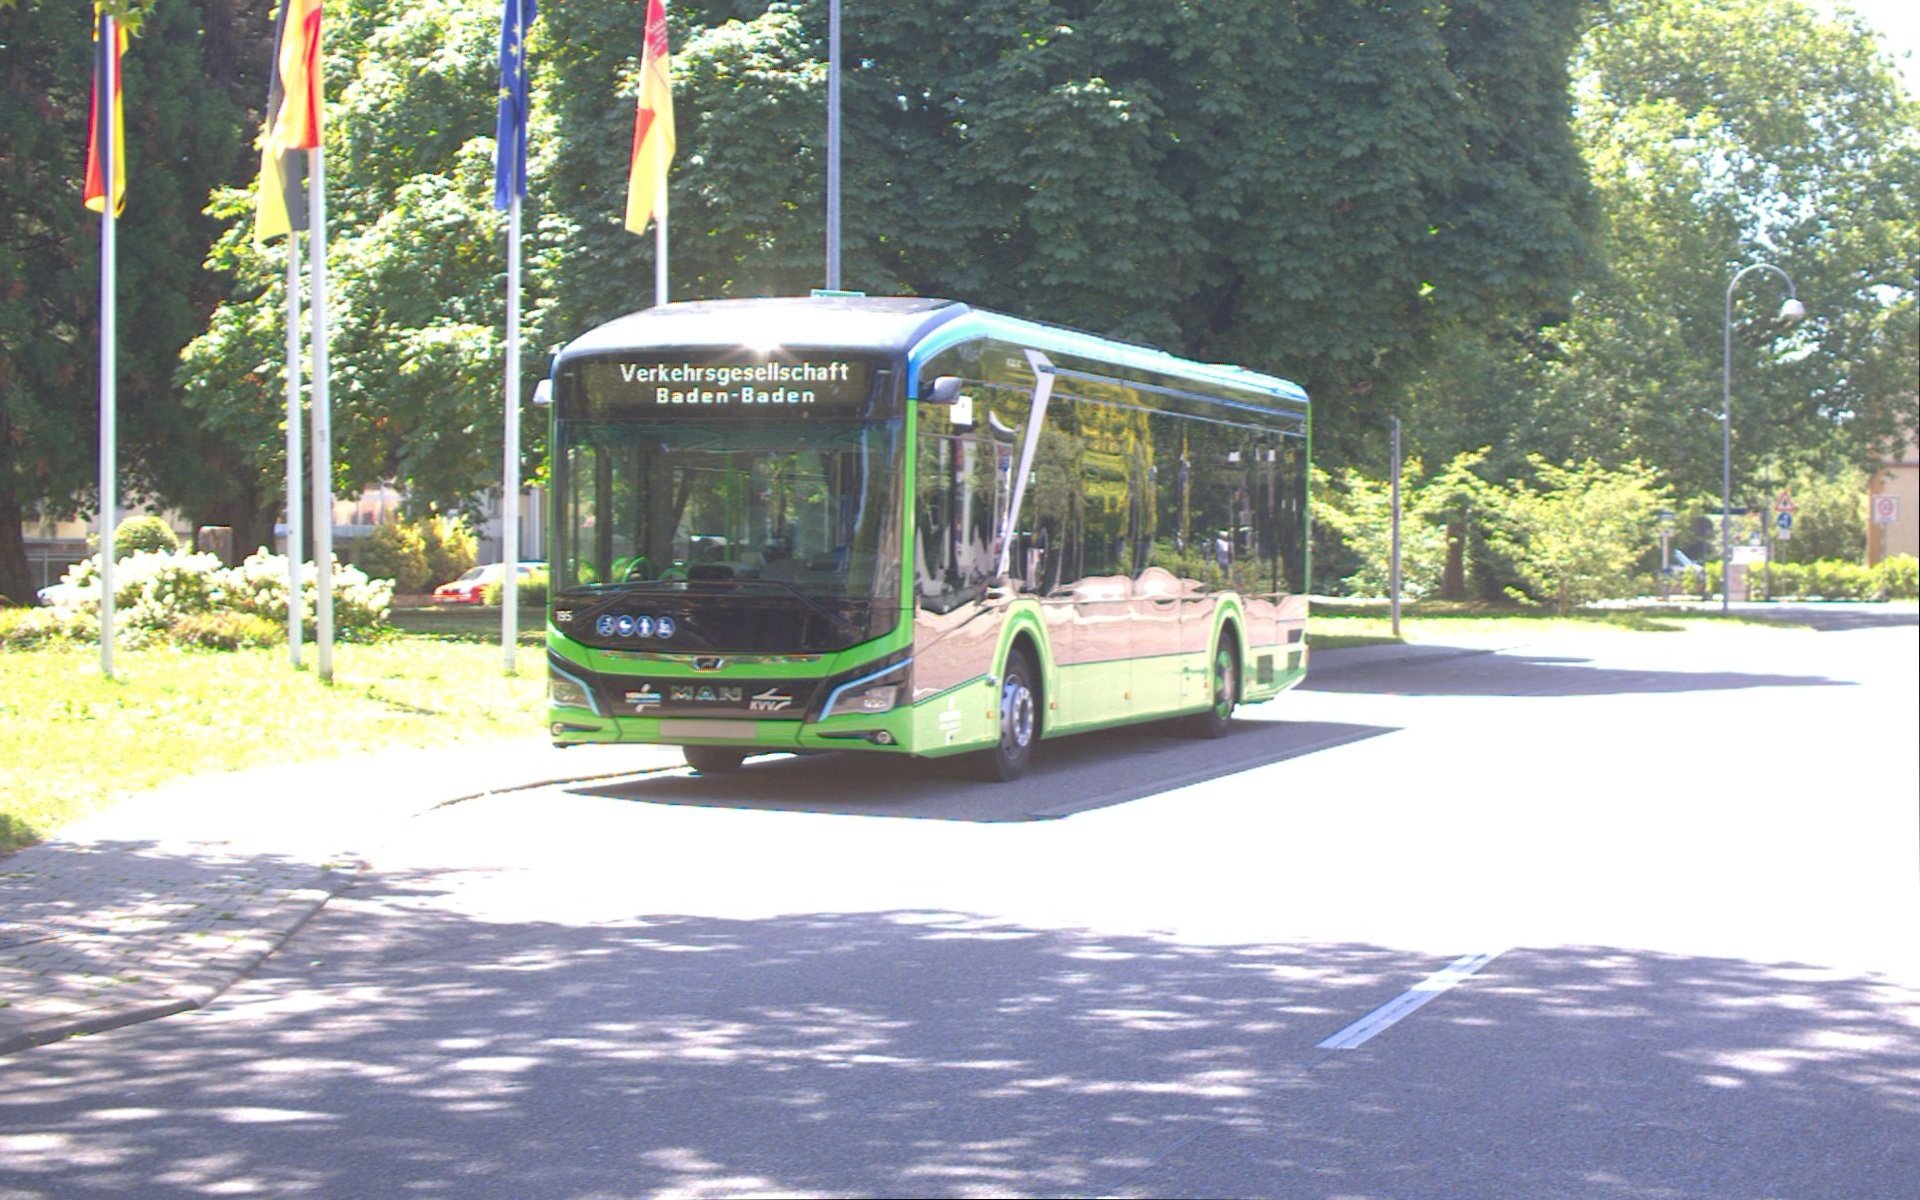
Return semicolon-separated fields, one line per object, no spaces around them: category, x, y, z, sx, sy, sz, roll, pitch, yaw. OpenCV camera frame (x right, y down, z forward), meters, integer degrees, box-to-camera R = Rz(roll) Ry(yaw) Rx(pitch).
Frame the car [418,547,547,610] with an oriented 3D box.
car;-14.817;-0.658;106.791;1.873;1.831;3.993;3;1;29

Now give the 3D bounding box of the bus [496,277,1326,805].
bus;0.261;-0.491;27.655;2.811;3.271;12.414;1;1;18

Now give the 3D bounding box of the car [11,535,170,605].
car;-23.498;-0.806;92.994;1.873;1.745;3.993;3;1;29
